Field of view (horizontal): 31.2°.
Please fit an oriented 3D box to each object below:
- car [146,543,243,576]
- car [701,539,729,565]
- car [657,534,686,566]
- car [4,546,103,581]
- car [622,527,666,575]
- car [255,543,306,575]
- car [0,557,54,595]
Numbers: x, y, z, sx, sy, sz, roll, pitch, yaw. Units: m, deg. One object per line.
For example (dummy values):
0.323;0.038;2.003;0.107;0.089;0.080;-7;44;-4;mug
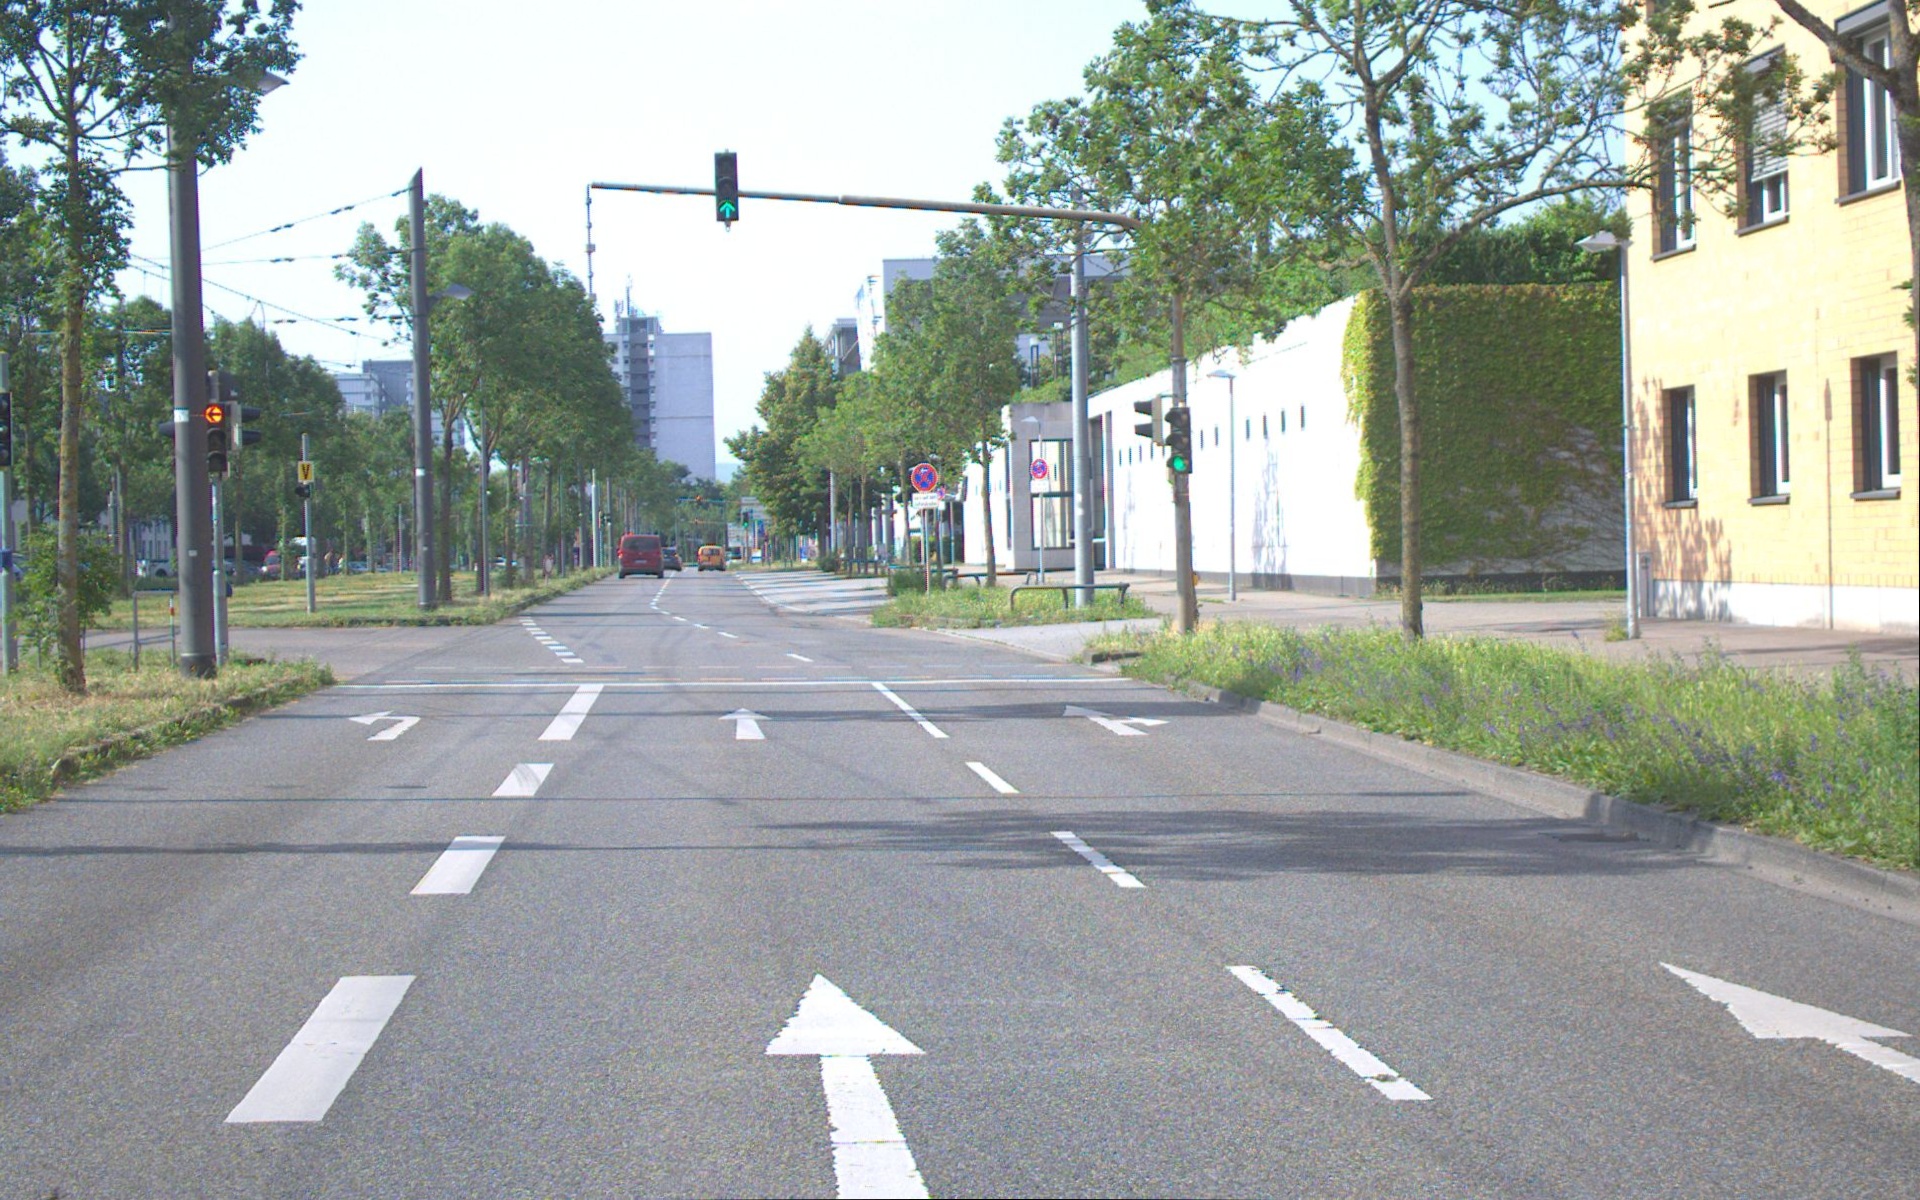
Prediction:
-42.904;-2.278;192.587;5.319;1.732;1.997;1;0;30;car
-16.160;-3.147;226.631;1.748;1.645;3.216;1;0;-3;car
-18.623;-3.209;222.086;1.748;2.007;3.216;1;0;-3;car
-38.782;-1.546;147.054;3.992;1.412;1.575;1;0;26;car
-13.498;-2.087;146.920;1.748;2.007;3.216;1;0;-3;car
-37.059;-2.218;187.538;1.965;1.688;4.297;1;0;-1;car
-36.898;-0.936;131.226;4.470;1.414;1.971;1;0;33;car
